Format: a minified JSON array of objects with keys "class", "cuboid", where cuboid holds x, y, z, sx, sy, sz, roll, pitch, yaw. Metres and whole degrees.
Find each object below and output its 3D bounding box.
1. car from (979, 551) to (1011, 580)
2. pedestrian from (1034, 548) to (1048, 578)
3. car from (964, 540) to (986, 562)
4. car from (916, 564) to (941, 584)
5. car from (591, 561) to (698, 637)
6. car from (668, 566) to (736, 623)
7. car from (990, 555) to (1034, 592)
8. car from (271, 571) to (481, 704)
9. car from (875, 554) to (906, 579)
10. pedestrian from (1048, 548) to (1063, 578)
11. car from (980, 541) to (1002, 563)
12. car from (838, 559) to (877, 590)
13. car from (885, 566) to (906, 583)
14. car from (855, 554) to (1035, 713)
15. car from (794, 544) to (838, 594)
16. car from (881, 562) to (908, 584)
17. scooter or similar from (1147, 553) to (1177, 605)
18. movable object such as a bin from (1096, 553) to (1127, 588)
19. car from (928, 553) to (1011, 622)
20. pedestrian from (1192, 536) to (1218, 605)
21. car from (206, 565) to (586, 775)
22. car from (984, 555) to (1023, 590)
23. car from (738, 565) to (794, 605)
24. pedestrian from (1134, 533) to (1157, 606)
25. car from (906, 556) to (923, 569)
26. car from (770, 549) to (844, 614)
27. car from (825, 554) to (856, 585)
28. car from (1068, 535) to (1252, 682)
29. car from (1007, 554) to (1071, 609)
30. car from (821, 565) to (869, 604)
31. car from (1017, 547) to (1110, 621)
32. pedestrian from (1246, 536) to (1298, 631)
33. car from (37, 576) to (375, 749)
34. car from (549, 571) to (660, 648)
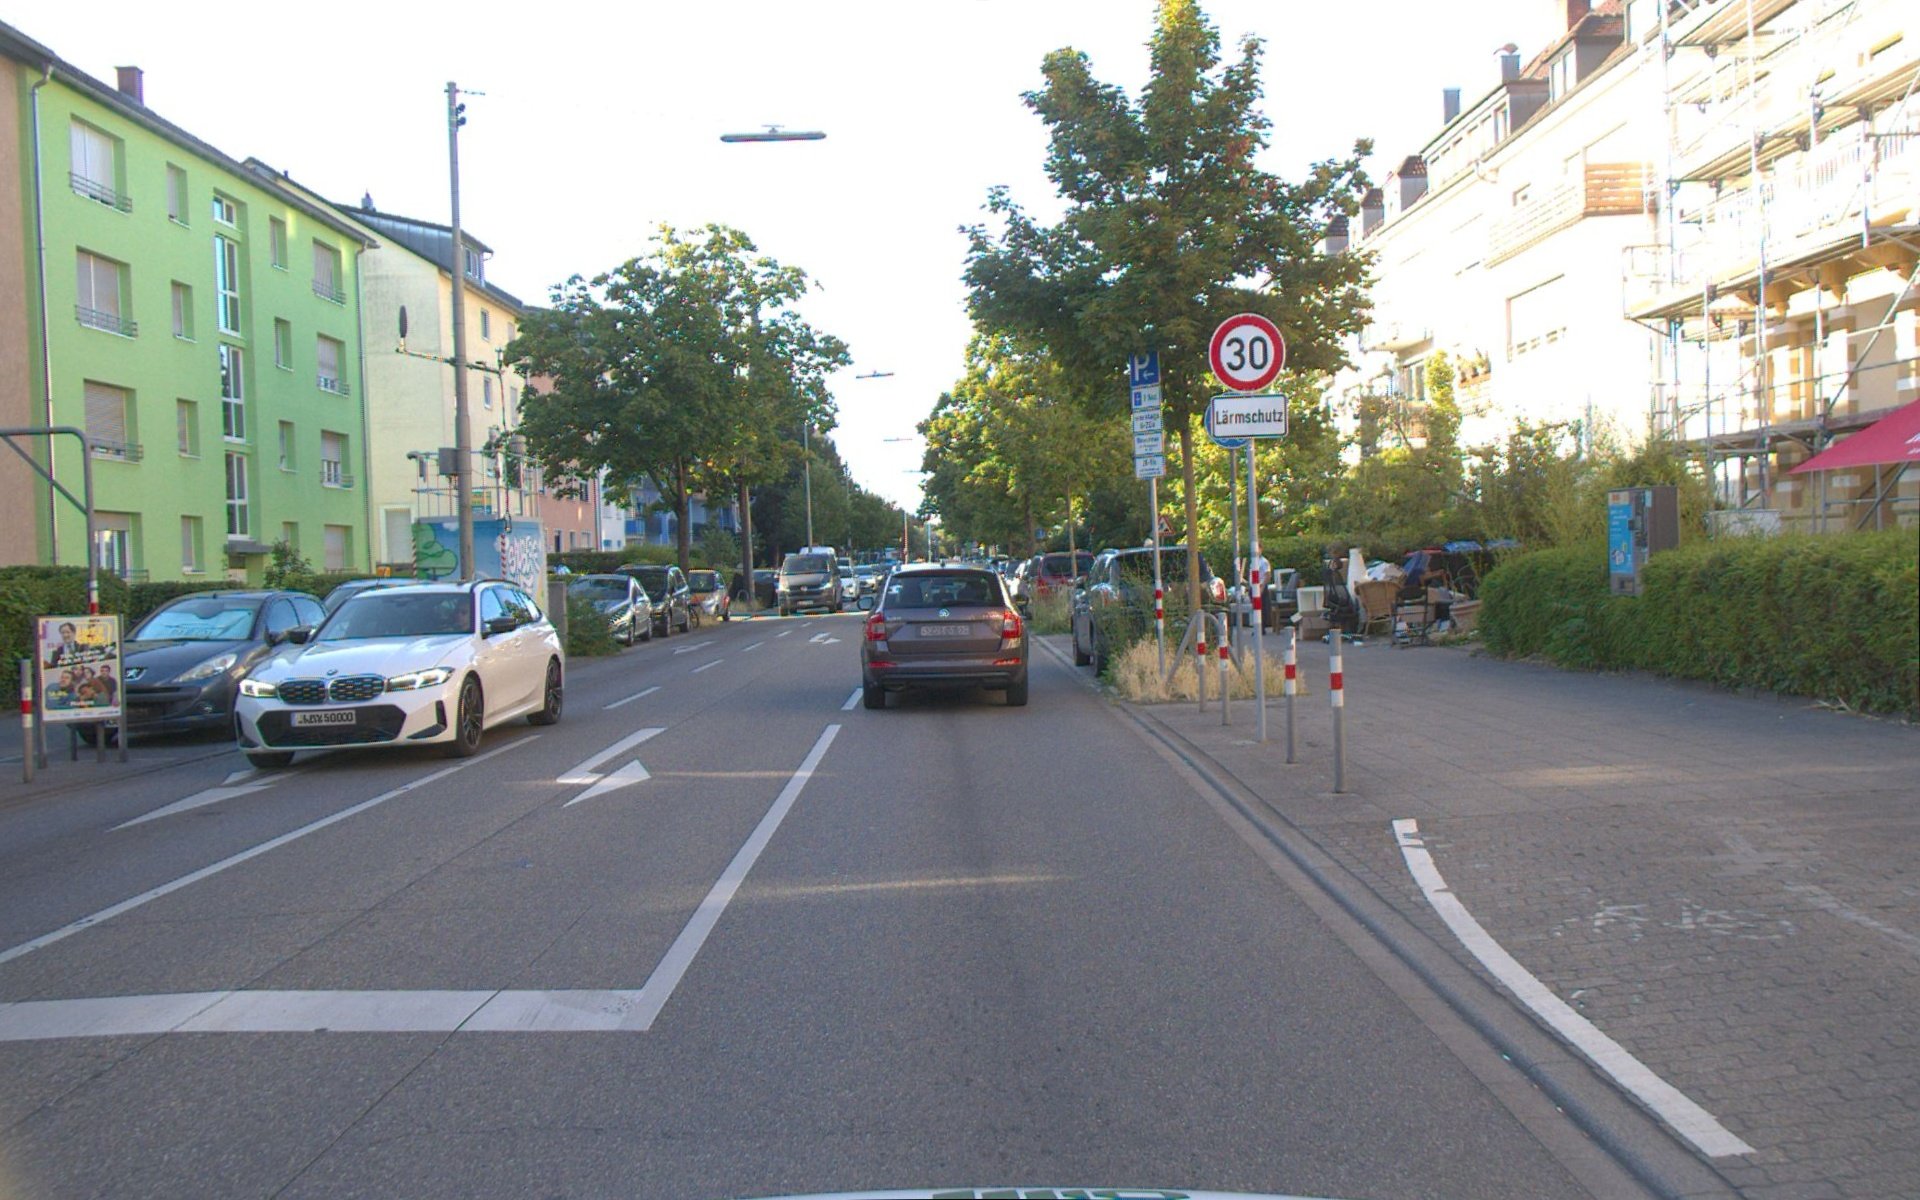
[{"class":"car","cuboid":[2.252,-2.244,107.218,1.764,1.839,4.422,0,1,-3]},{"class":"pedestrian","cuboid":[5.205,-2.405,106.320,0.733,1.893,1.068,-3,1,-1]},{"class":"car","cuboid":[1.333,-4.303,146.432,1.877,1.892,5.634,-2,1,1]},{"class":"car","cuboid":[-2.461,-2.050,127.522,1.746,1.506,3.968,0,1,-4]},{"class":"car","cuboid":[-7.873,-0.077,41.699,1.747,1.763,4.617,-2,1,0]},{"class":"car","cuboid":[-7.911,-0.187,50.866,1.468,1.645,2.862,-2,1,2]},{"class":"car","cuboid":[2.295,-1.201,73.924,1.683,1.520,4.393,-2,1,-2]},{"class":"car","cuboid":[-7.748,0.428,22.290,1.604,1.579,3.784,-2,1,-3]},{"class":"car","cuboid":[-4.232,-2.061,101.067,1.666,1.428,4.027,-4,1,-1]},{"class":"pedestrian","cuboid":[6.117,-2.374,106.100,0.781,1.893,0.952,-2,1,10]},{"class":"car","cuboid":[2.442,-3.761,130.118,1.718,1.716,4.253,0,1,1]},{"class":"car","cuboid":[-5.474,-1.393,88.783,1.795,1.495,4.451,-5,1,-1]},{"class":"car","cuboid":[-6.214,-2.431,158.627,1.842,1.569,4.264,-2,1,-4]},{"class":"car","cuboid":[-0.102,0.275,17.894,1.718,1.518,4.001,0,1,1]},{"class":"car","cuboid":[-8.086,-1.784,93.663,1.953,2.661,7.105,-1,1,-1]},{"class":"car","cuboid":[-4.965,-2.059,125.579,1.665,1.496,4.296,-3,1,2]},{"class":"scooter or similar","cuboid":[5.272,-0.554,43.258,0.730,1.340,0.721,-2,1,6]},{"class":"movable object such as a bin","cuboid":[7.050,-1.367,76.861,1.240,1.518,1.140,-4,1,9]},{"class":"car","cuboid":[0.186,-0.291,39.836,1.853,1.532,3.789,2,0,-1]},{"class":"pedestrian","cuboid":[6.287,-0.761,42.393,0.500,1.726,0.526,-2,1,-5]},{"class":"car","cuboid":[-4.868,0.491,15.078,1.799,1.499,4.671,-3,1,0]},{"class":"car","cuboid":[2.084,-1.365,80.753,1.683,1.629,4.096,-2,1,-1]},{"class":"car","cuboid":[-7.881,-0.646,67.615,1.742,1.531,4.588,-2,1,-1]},{"class":"pedestrian","cuboid":[4.847,-0.811,43.303,0.537,1.881,0.765,-2,1,6]},{"class":"car","cuboid":[-6.298,-5.178,227.721,1.955,1.780,3.996,-2,1,-6]},{"class":"car","cuboid":[-5.069,-0.650,55.468,1.953,1.979,4.777,-4,1,-1]},{"class":"car","cuboid":[-8.417,-2.168,116.812,1.831,2.066,5.300,-1,1,-1]},{"class":"car","cuboid":[2.462,0.045,21.310,1.756,1.660,4.029,-2,1,-1]},{"class":"car","cuboid":[2.381,-0.598,50.831,1.603,1.516,4.415,-3,1,-1]},{"class":"car","cuboid":[-4.869,-0.698,70.712,1.779,1.471,4.109,-4,1,-2]},{"class":"car","cuboid":[2.479,-0.425,40.624,1.687,1.684,4.595,-2,1,-3]},{"class":"pedestrian","cuboid":[5.364,-0.293,28.483,0.547,1.595,0.744,-2,1,-19]},{"class":"car","cuboid":[-7.670,0.553,17.269,1.619,1.505,3.944,-2,1,1]},{"class":"car","cuboid":[-7.839,0.156,36.839,1.649,1.547,4.190,-2,1,-2]}]
